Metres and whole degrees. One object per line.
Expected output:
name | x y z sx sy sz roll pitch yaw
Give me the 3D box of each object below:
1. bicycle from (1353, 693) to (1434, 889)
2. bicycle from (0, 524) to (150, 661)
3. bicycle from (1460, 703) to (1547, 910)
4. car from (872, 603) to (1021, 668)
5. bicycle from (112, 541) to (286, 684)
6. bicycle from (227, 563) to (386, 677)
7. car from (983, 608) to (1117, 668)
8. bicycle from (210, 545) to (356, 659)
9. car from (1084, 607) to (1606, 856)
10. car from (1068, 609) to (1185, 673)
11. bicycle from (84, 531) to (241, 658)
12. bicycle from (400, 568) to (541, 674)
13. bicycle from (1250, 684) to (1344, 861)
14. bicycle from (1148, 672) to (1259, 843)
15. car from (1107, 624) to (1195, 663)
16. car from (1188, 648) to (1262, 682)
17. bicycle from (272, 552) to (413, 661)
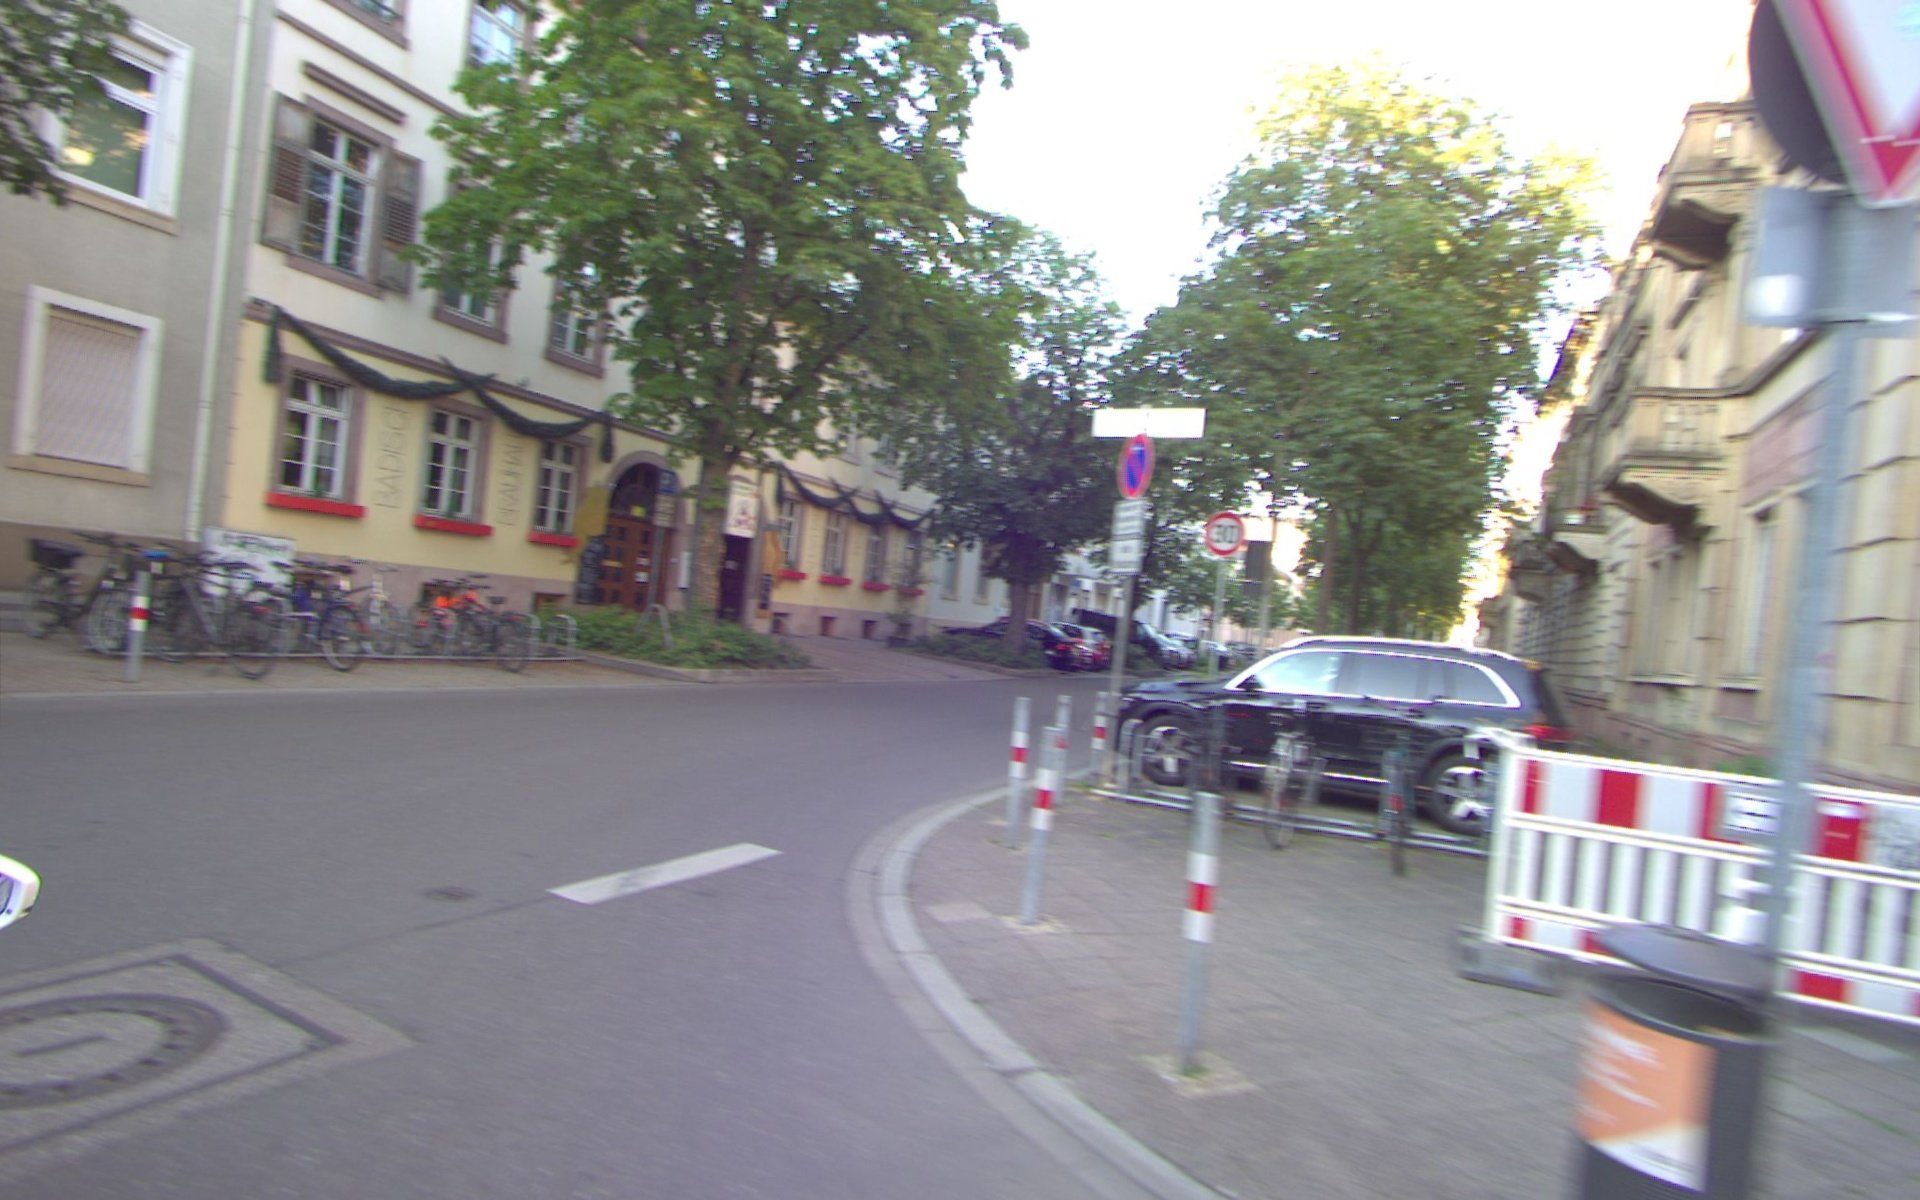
bicycle | 3.113 1.269 7.150 0.358 1.103 1.867 5 0 26
bicycle | -8.980 -0.094 10.169 2.007 1.160 0.445 7 1 30
bicycle | 3.689 1.323 6.902 0.358 1.103 1.867 5 0 26
car | -0.455 1.157 32.630 4.368 1.524 1.775 7 0 27
bicycle | -7.500 0.103 9.883 2.006 1.160 0.446 7 1 27
bicycle | -7.286 0.208 11.180 2.006 1.016 0.421 7 1 25
car | 3.239 1.373 36.503 4.368 1.633 1.775 7 0 27
bicycle | -8.275 0.015 12.269 2.006 1.160 0.421 7 1 25
car | 3.765 1.162 10.309 4.512 1.760 1.774 5 0 27
car | 7.051 1.738 42.727 4.368 2.149 1.775 7 0 27
bicycle | -8.761 -0.071 11.026 2.006 1.160 0.421 7 1 25
bicycle | -6.490 0.267 13.306 2.006 1.160 0.421 7 1 25
bicycle | 2.617 1.242 7.707 0.358 1.103 1.867 5 0 26
bicycle | 1.935 1.144 7.815 0.358 1.103 1.867 5 0 26
car | 10.618 2.422 56.081 4.368 1.633 1.775 7 0 27
car | 17.679 4.325 67.127 4.368 1.633 1.775 7 0 27
bicycle | -7.881 0.069 12.816 2.006 1.160 0.421 7 1 25
